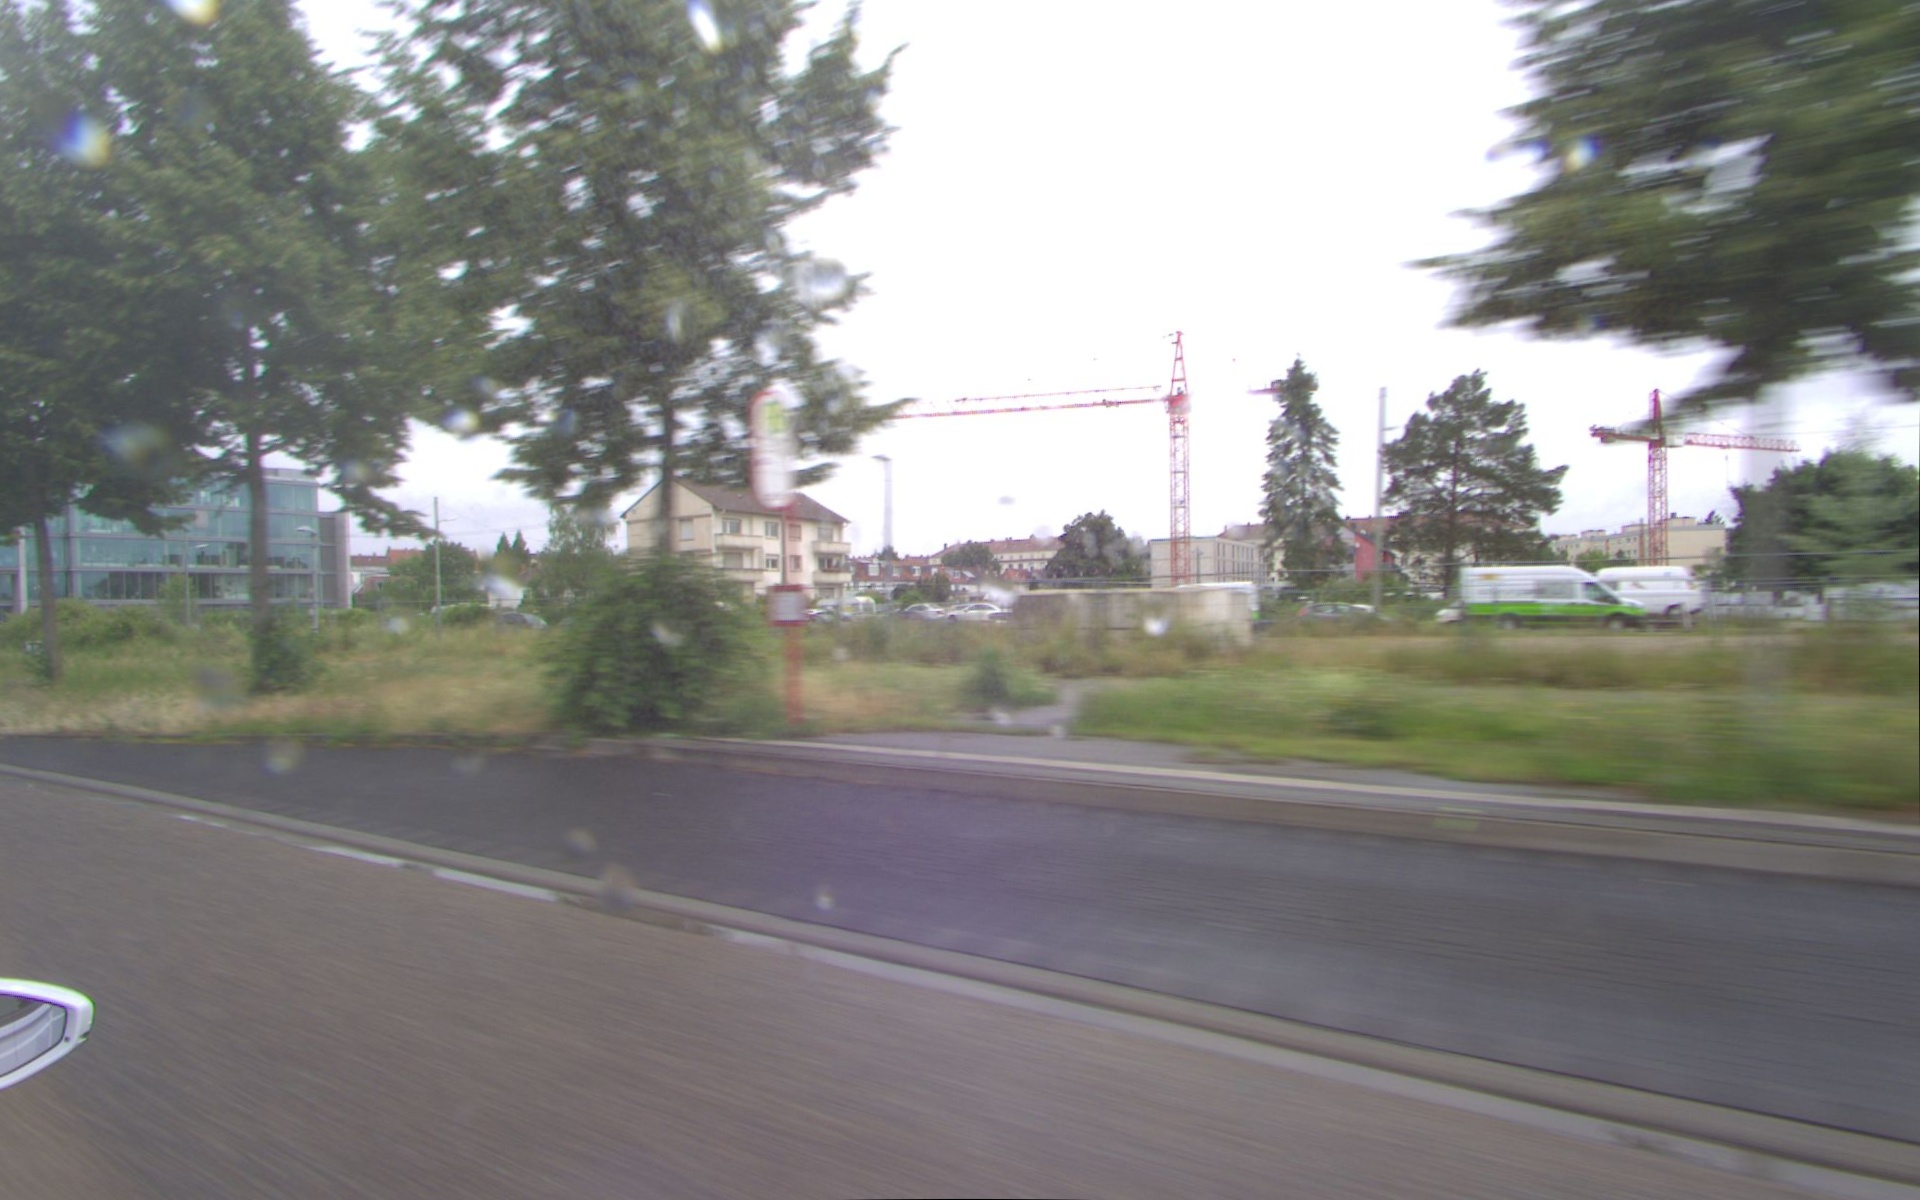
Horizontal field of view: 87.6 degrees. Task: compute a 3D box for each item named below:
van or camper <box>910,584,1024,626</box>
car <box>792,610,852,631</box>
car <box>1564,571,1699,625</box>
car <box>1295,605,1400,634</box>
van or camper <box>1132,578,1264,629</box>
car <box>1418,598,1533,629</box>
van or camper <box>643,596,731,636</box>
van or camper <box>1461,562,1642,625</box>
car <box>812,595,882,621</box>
[{"bbox_3d":[0.405,0.359,60.825,6.548,2.336,2.500,-1,-2,30],"label":"van or camper"},{"bbox_3d":[-9.496,1.439,68.957,3.976,1.370,1.692,-1,0,33],"label":"car"},{"bbox_3d":[29.429,-0.029,44.107,4.687,2.249,2.270,-1,-1,28],"label":"car"},{"bbox_3d":[19.196,0.978,49.672,4.687,1.370,1.840,-1,-1,29],"label":"car"},{"bbox_3d":[12.608,0.249,53.166,6.323,2.569,2.773,-1,-1,30],"label":"van or camper"},{"bbox_3d":[24.045,0.642,46.793,4.687,1.370,2.089,-1,0,28],"label":"car"},{"bbox_3d":[-19.646,1.179,72.052,6.301,2.724,2.305,-1,0,30],"label":"van or camper"},{"bbox_3d":[23.376,-0.185,39.878,6.056,2.337,2.200,-1,-1,30],"label":"van or camper"},{"bbox_3d":[-8.874,0.644,78.672,5.126,1.919,2.160,-1,0,28],"label":"car"}]
